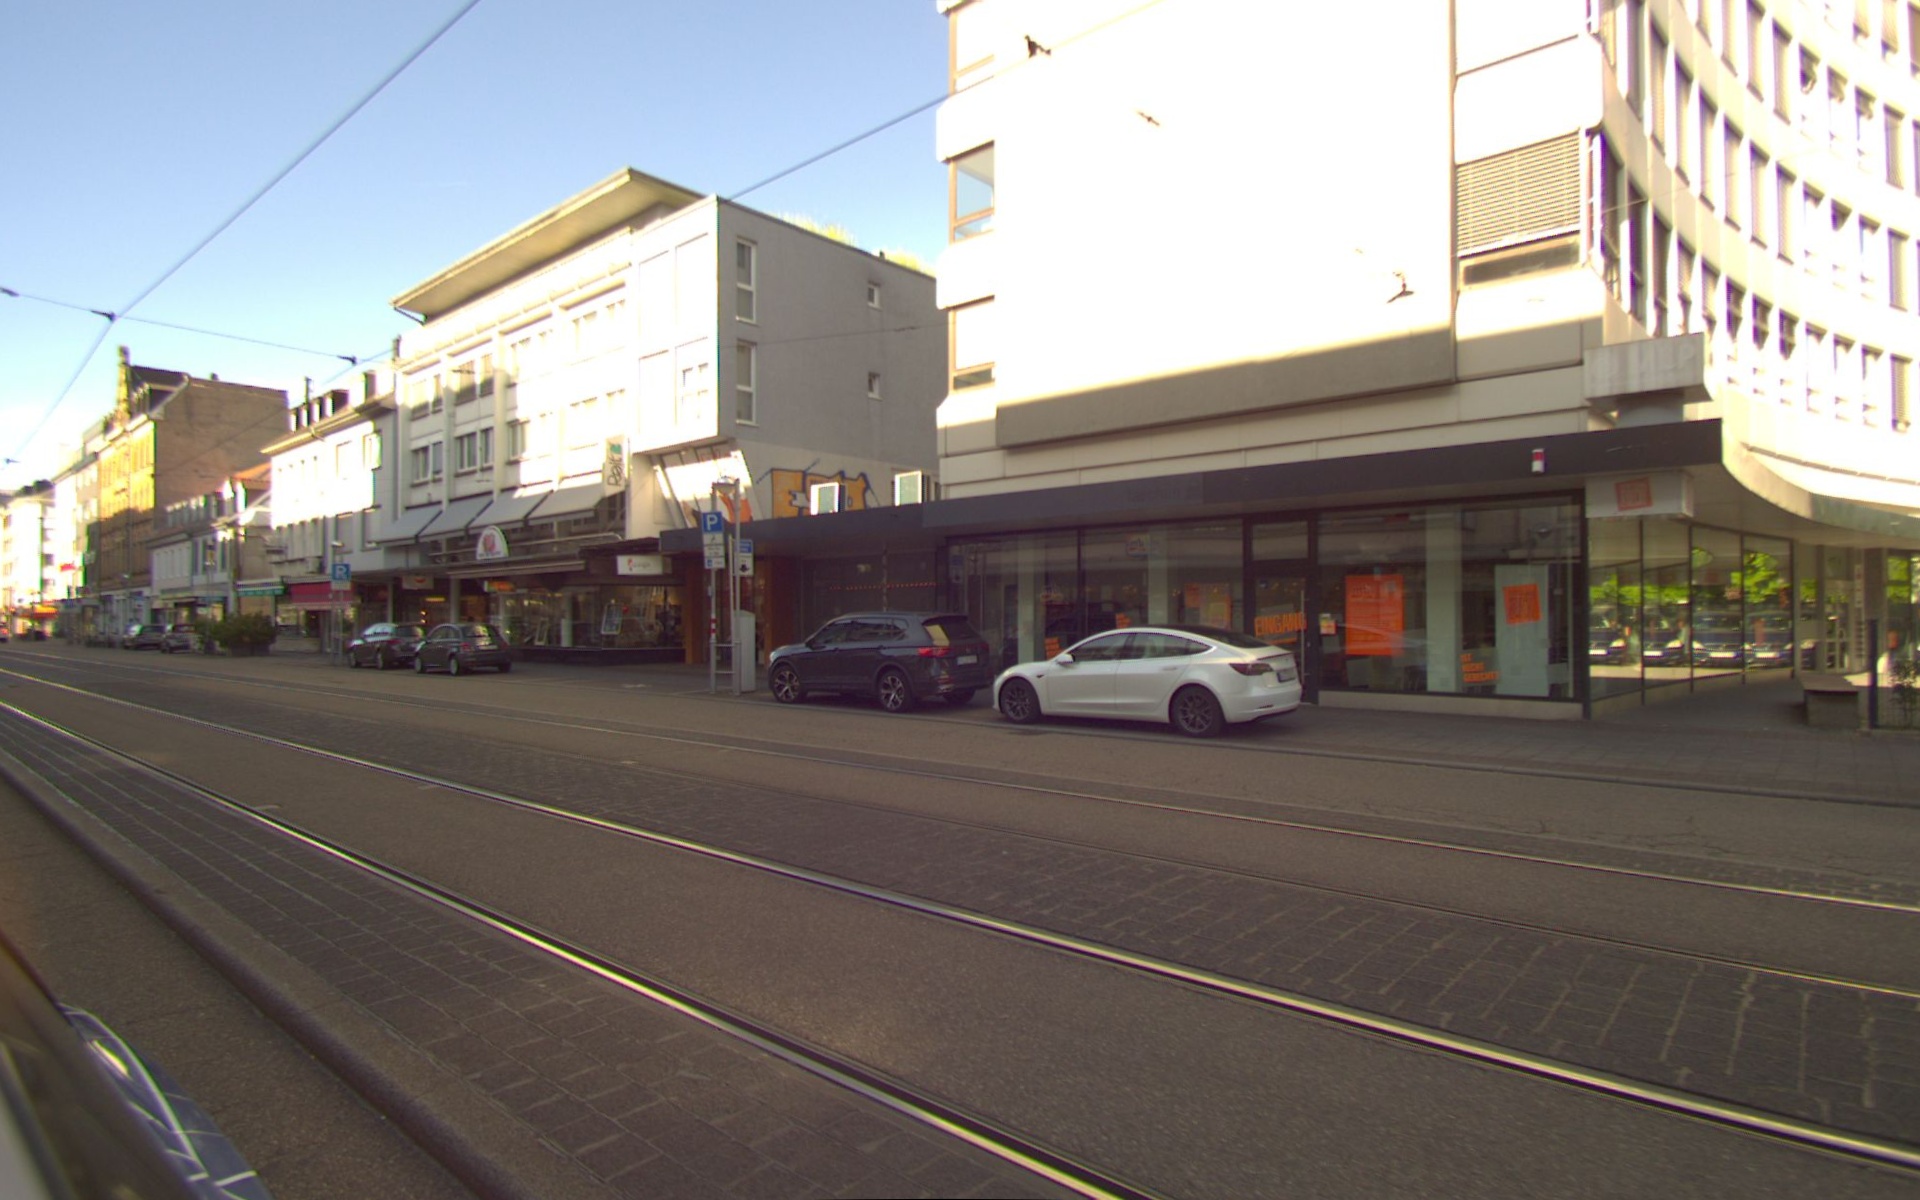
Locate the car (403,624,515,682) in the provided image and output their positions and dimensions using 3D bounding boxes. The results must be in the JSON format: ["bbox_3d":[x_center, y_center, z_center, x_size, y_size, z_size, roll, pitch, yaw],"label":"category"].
[{"bbox_3d":[-14.769,1.518,29.763,3.586,1.535,1.585,-1,1,39],"label":"car"}]

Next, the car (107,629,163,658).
[{"bbox_3d":[-47.928,2.507,58.749,4.761,1.525,1.798,-1,-1,42],"label":"car"}]

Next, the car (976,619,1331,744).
[{"bbox_3d":[2.625,1.031,14.426,4.653,1.431,1.869,-1,1,40],"label":"car"}]

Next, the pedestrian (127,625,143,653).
[{"bbox_3d":[-54.004,2.531,66.236,0.580,1.775,0.651,-1,0,33],"label":"pedestrian"}]

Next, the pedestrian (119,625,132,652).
[{"bbox_3d":[-57.645,2.654,69.912,0.572,1.819,0.660,-2,0,-37],"label":"pedestrian"}]

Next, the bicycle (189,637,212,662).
[{"bbox_3d":[-35.642,2.296,47.479,1.715,1.098,0.513,-1,0,42],"label":"bicycle"}]

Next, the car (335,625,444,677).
[{"bbox_3d":[-19.161,1.651,33.891,4.851,1.535,1.719,-1,1,42],"label":"car"}]

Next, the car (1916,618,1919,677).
[{"bbox_3d":[25.423,1.176,24.660,3.930,1.431,1.831,1,-1,-26],"label":"car"}]

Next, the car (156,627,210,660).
[{"bbox_3d":[-40.649,2.249,52.939,2.890,1.616,1.679,-1,0,41],"label":"car"}]

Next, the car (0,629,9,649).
[{"bbox_3d":[-80.300,3.196,83.877,3.675,1.647,1.779,-1,-2,42],"label":"car"}]

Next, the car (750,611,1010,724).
[{"bbox_3d":[-1.532,1.090,18.063,4.654,1.691,1.957,-1,1,42],"label":"car"}]
